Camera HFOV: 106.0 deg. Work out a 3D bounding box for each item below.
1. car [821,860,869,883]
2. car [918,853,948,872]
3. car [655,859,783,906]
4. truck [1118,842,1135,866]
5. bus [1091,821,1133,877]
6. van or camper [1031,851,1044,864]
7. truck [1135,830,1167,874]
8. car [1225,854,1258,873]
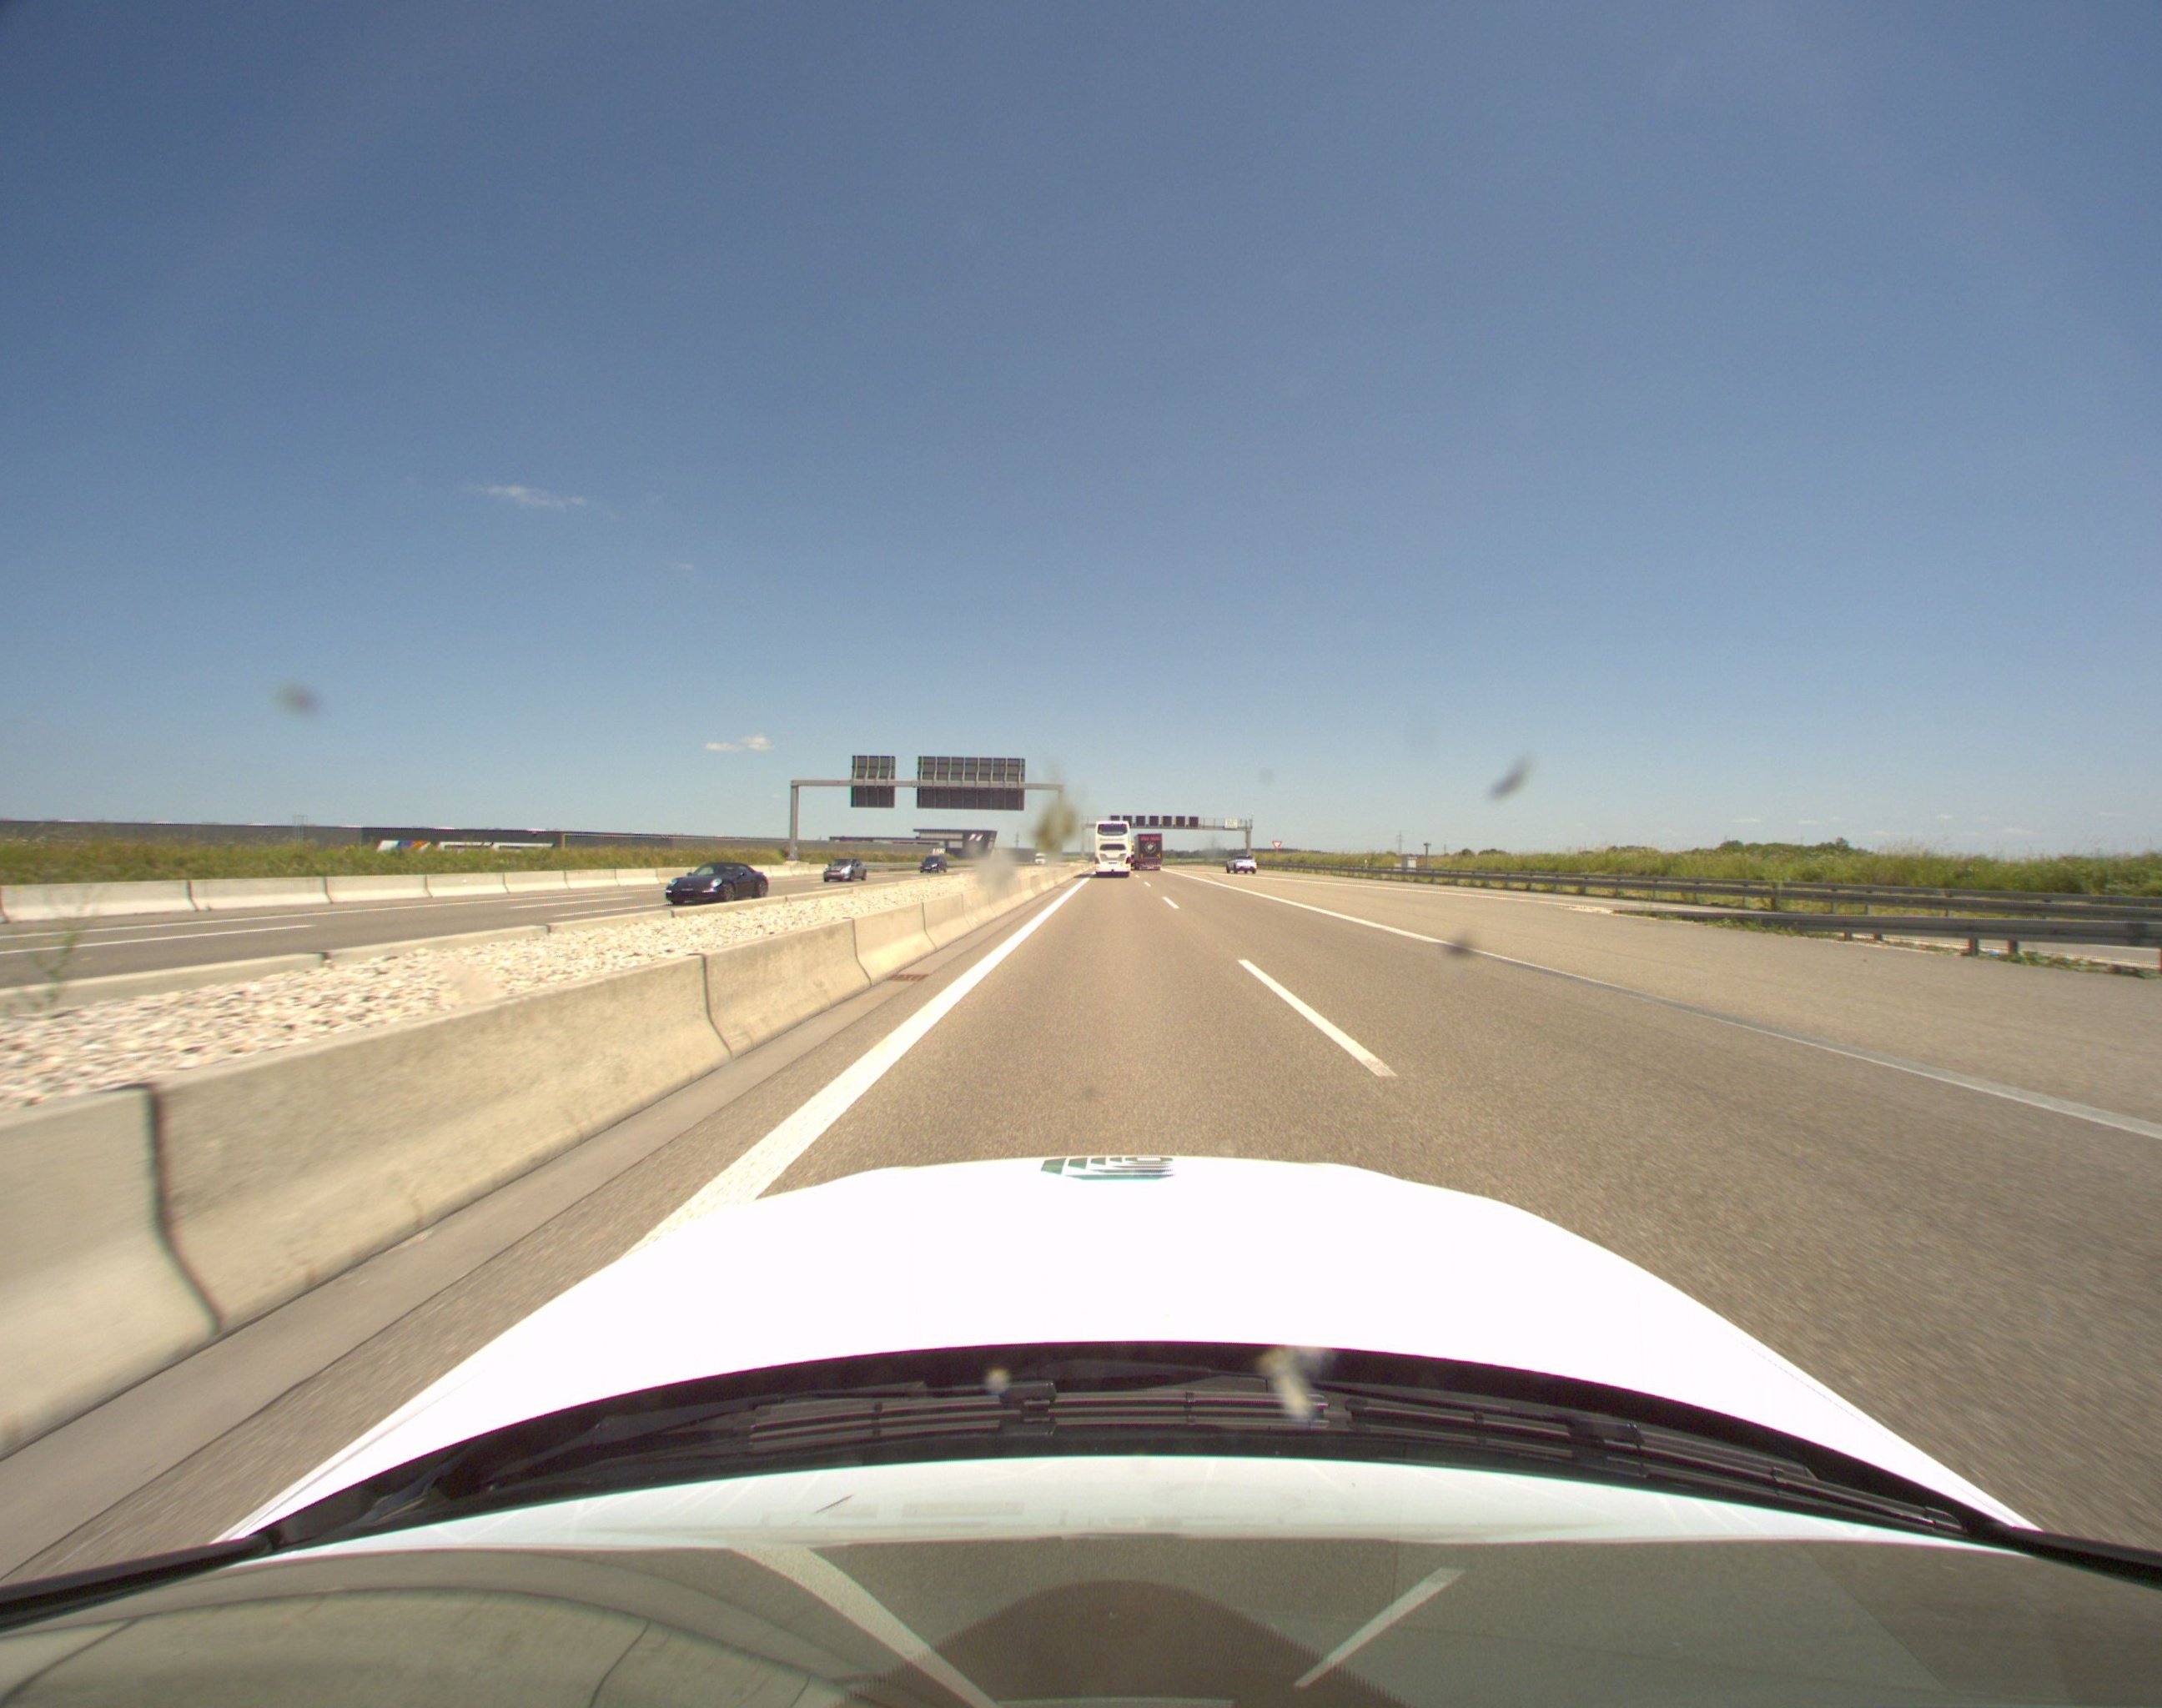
[{"bbox_3d":[-14.415,1.019,49.911,1.886,1.329,3.983,0,0,-2],"label":"car"},{"bbox_3d":[-14.262,0.810,78.667,1.839,1.823,4.923,0,0,2],"label":"car"},{"bbox_3d":[-11.751,0.877,26.850,1.836,1.382,4.756,0,0,3],"label":"car"},{"bbox_3d":[7.151,0.010,128.580,2.429,3.789,6.494,0,0,1],"label":"truck"},{"bbox_3d":[2.244,-0.396,61.593,2.970,3.974,9.106,0,1,1],"label":"bus"},{"bbox_3d":[-8.944,0.685,167.889,2.311,2.558,6.318,0,0,2],"label":"van or camper"},{"bbox_3d":[7.883,-0.036,93.160,3.365,4.464,13.578,0,-2,4],"label":"truck"},{"bbox_3d":[13.544,0.807,68.796,1.885,1.529,4.259,0,0,-1],"label":"car"}]
